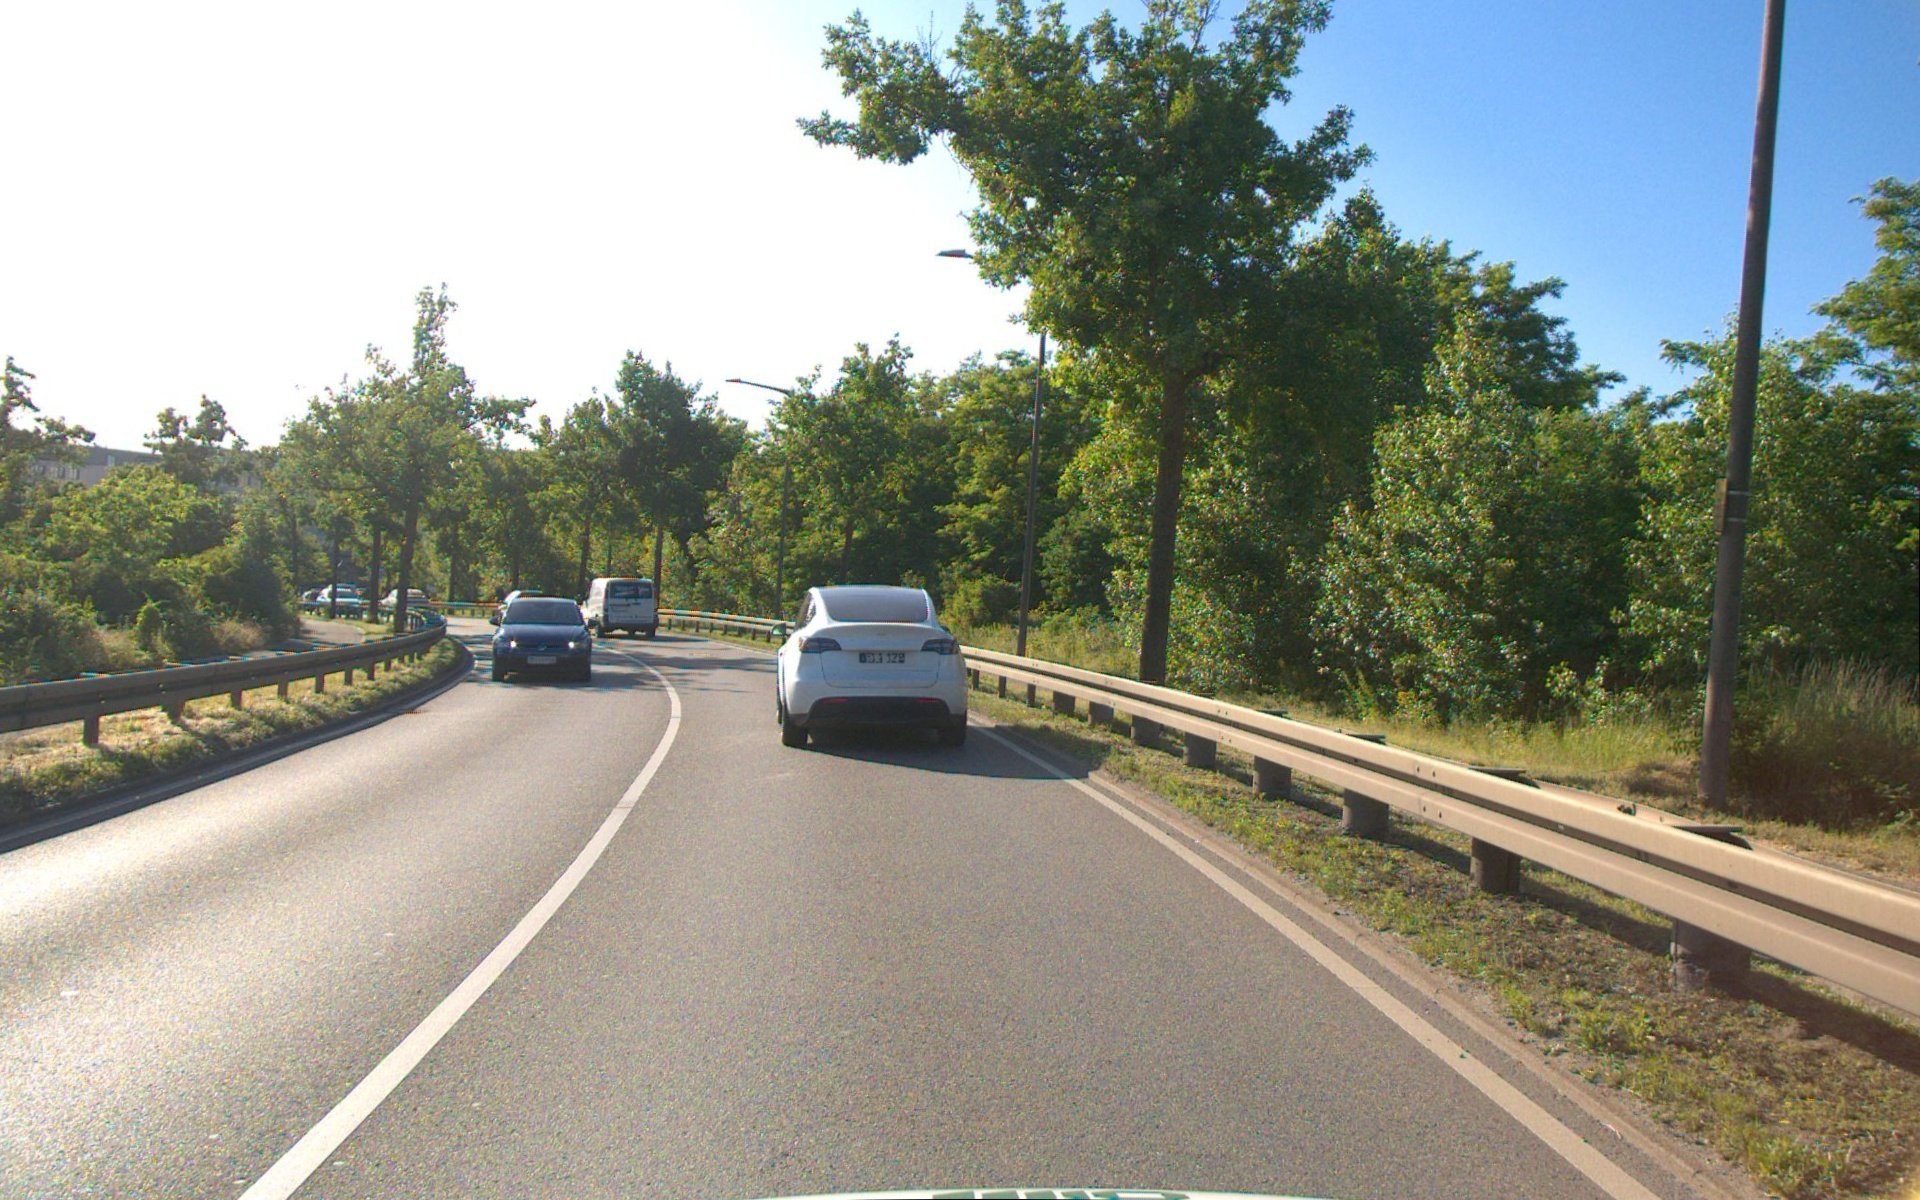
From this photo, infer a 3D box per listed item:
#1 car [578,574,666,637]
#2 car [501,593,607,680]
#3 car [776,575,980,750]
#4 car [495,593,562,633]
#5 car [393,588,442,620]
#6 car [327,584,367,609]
[{"bbox_3d":[-11.173,0.165,54.475,1.978,1.974,4.436,1,0,-23],"label":"car"},{"bbox_3d":[-7.517,0.627,30.412,1.763,1.456,3.810,1,0,-16],"label":"car"},{"bbox_3d":[-0.956,0.603,17.956,1.946,1.666,4.058,1,0,-5],"label":"car"},{"bbox_3d":[-18.259,0.537,69.862,1.839,1.612,3.877,1,0,-29],"label":"car"},{"bbox_3d":[-29.259,0.215,89.119,1.839,1.612,3.877,1,0,-29],"label":"car"},{"bbox_3d":[-40.155,-0.253,108.305,1.816,1.583,3.854,1,0,-30],"label":"car"}]
